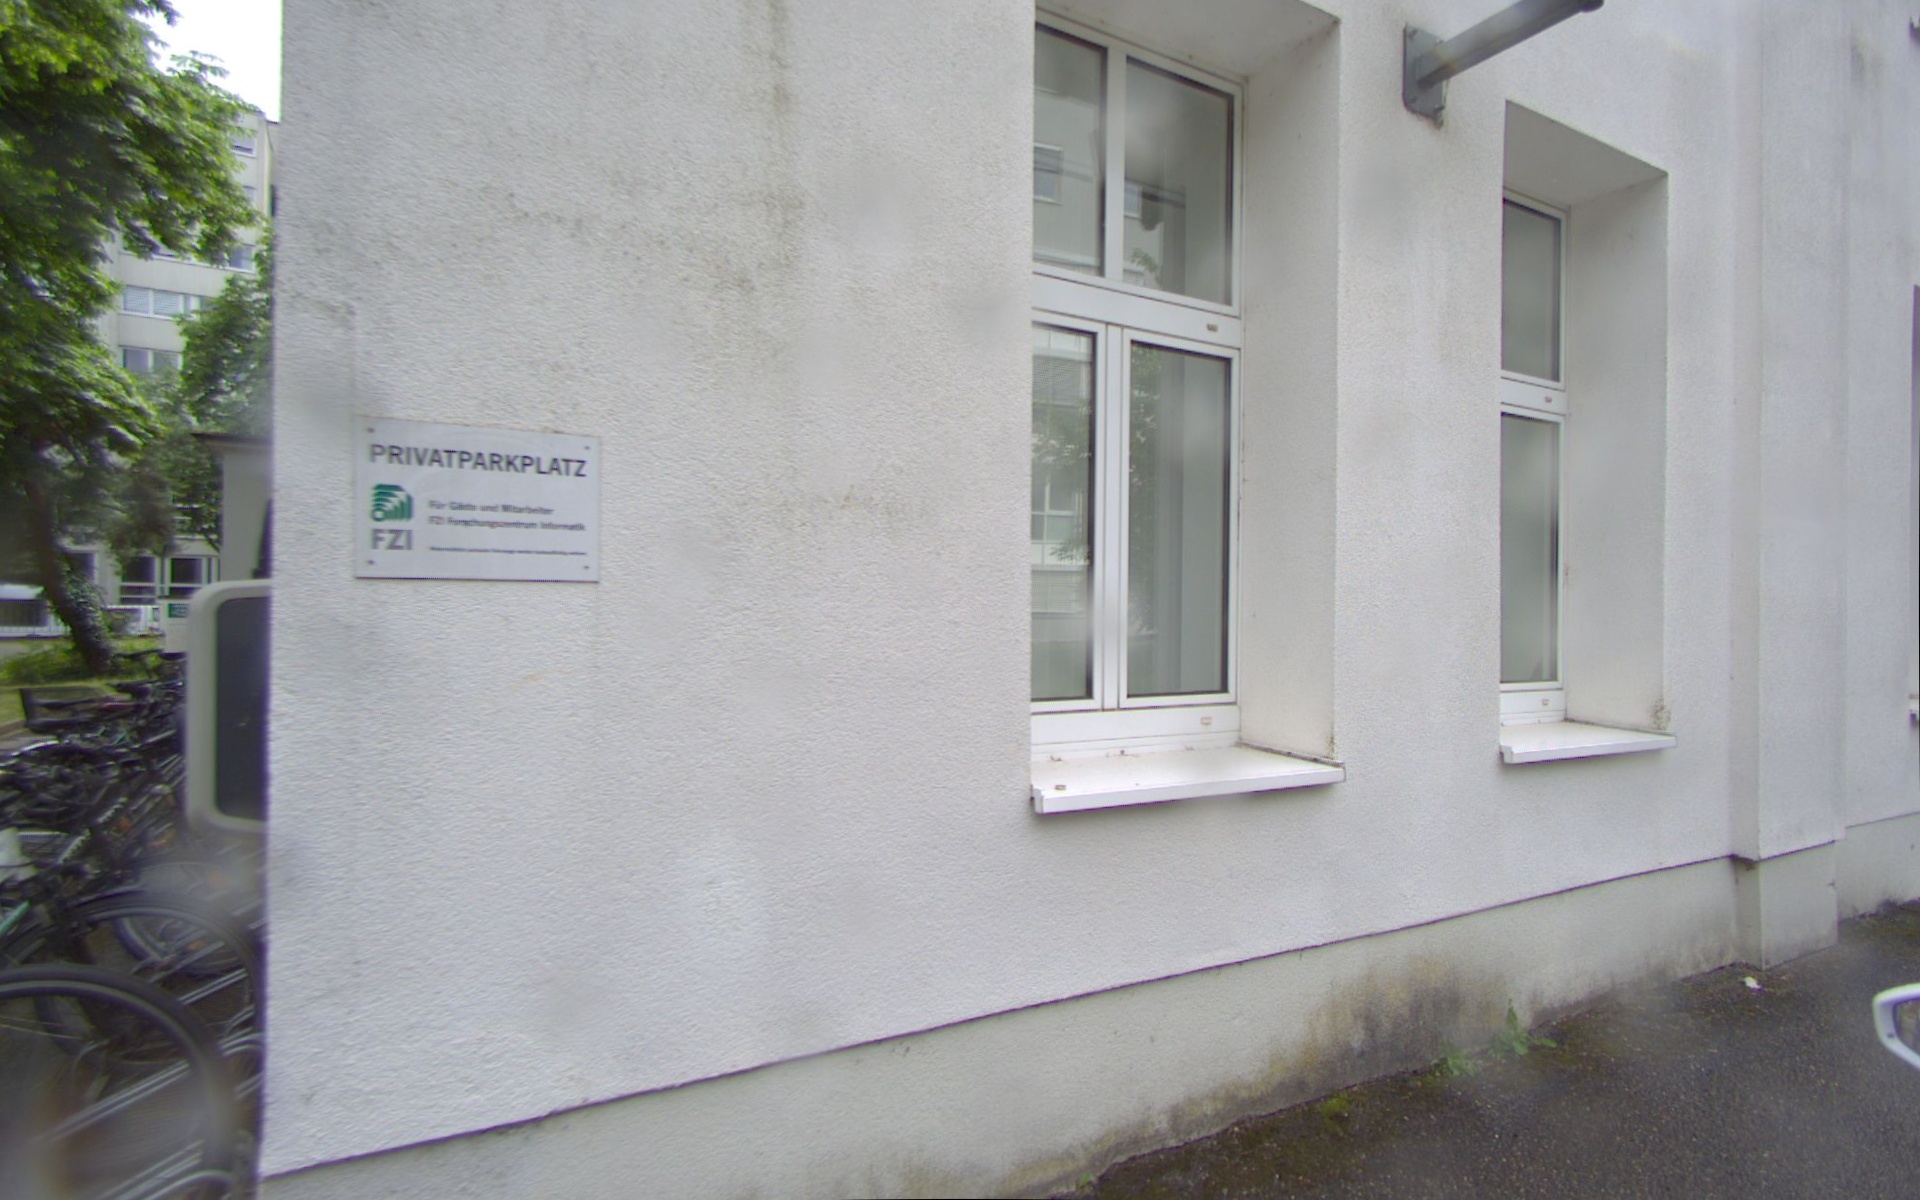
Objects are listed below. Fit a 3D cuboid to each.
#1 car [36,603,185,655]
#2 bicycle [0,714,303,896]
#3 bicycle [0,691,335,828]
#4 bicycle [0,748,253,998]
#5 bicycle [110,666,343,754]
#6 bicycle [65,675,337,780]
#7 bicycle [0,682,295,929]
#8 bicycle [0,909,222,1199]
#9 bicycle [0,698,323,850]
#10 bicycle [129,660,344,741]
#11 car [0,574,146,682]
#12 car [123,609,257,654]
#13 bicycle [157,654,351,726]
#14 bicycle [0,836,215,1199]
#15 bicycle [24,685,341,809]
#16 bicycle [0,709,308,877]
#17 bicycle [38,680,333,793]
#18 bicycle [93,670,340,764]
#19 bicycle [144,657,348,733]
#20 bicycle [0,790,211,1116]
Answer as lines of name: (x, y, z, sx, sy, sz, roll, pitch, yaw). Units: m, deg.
car: (-33.068, 1.152, 39.229, 4.012, 1.957, 1.787, 1, -2, -11)
bicycle: (-4.816, 1.111, 5.472, 2.032, 0.810, 0.449, 0, 1, -30)
bicycle: (-5.946, 1.163, 7.603, 2.032, 0.810, 0.449, 0, 1, -30)
bicycle: (-3.936, 1.075, 3.784, 2.032, 0.810, 0.449, 0, 1, -30)
bicycle: (-8.068, 1.191, 11.160, 2.032, 0.810, 0.449, 0, 1, -30)
bicycle: (-7.212, 1.192, 9.674, 2.032, 0.810, 0.449, 0, 1, -30)
bicycle: (-4.459, 0.987, 4.856, 2.032, 1.052, 0.449, 0, 1, -30)
bicycle: (-2.342, 1.067, 1.429, 2.032, 0.810, 0.449, 0, 1, -30)
bicycle: (-5.501, 1.139, 6.747, 2.032, 0.810, 0.449, 0, 1, -30)
bicycle: (-8.562, 1.169, 12.001, 2.032, 0.810, 0.449, 0, 1, -30)
car: (-23.889, 0.698, 25.125, 2.058, 2.615, 5.070, -1, -2, 31)
car: (-32.149, 1.346, 42.028, 4.012, 1.830, 1.787, 1, -2, -11)
bicycle: (-9.188, 1.156, 13.163, 2.032, 0.810, 0.449, 0, 1, -30)
bicycle: (-2.886, 1.079, 2.140, 2.032, 0.810, 0.449, 0, 1, -30)
bicycle: (-6.370, 1.181, 8.375, 2.032, 0.810, 0.449, 0, 1, -30)
bicycle: (-5.141, 1.142, 6.017, 2.032, 0.810, 0.449, 0, 1, -30)
bicycle: (-6.827, 1.181, 8.992, 2.032, 0.810, 0.449, 0, 1, -30)
bicycle: (-7.721, 1.194, 10.549, 2.032, 0.810, 0.449, 0, 1, -30)
bicycle: (-8.895, 1.170, 12.612, 2.032, 0.810, 0.449, 0, 1, -30)
bicycle: (-3.359, 1.068, 2.758, 2.032, 0.810, 0.449, 0, 1, -30)
